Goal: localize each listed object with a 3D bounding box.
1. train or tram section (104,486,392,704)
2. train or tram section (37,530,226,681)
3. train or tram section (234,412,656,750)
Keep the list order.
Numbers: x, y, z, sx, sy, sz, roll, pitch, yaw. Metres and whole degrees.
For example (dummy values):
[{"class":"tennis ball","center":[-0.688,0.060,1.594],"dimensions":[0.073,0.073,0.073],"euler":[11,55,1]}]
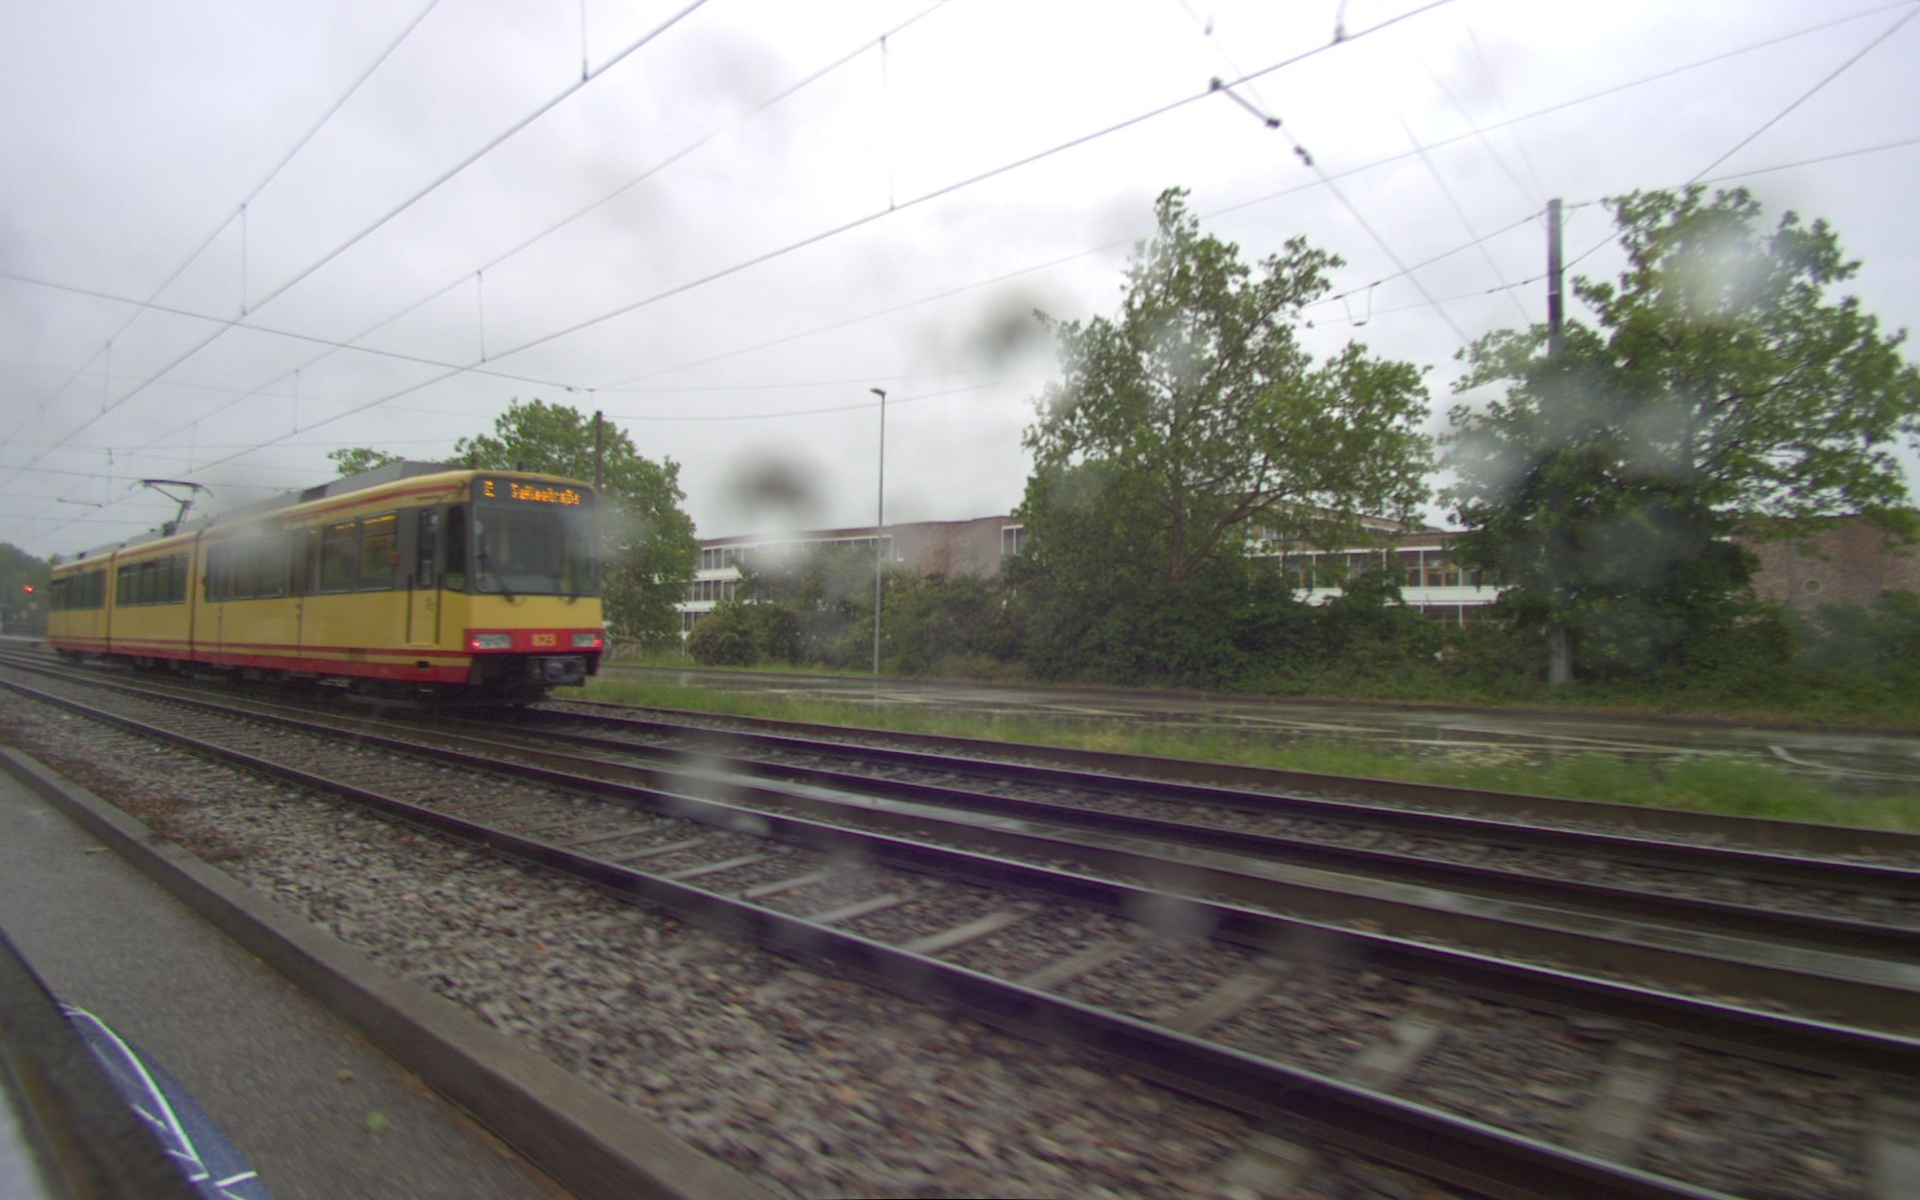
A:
[{"class":"train or tram section","center":[-17.854,0.012,24.724],"dimensions":[13.012,4.181,2.777],"euler":[-1,-1,41]},{"class":"train or tram section","center":[-27.612,0.298,33.346],"dimensions":[13.013,4.181,2.777],"euler":[-2,-2,42]},{"class":"train or tram section","center":[-9.124,-0.182,16.969],"dimensions":[10.266,4.181,2.781],"euler":[-1,-1,42]}]
